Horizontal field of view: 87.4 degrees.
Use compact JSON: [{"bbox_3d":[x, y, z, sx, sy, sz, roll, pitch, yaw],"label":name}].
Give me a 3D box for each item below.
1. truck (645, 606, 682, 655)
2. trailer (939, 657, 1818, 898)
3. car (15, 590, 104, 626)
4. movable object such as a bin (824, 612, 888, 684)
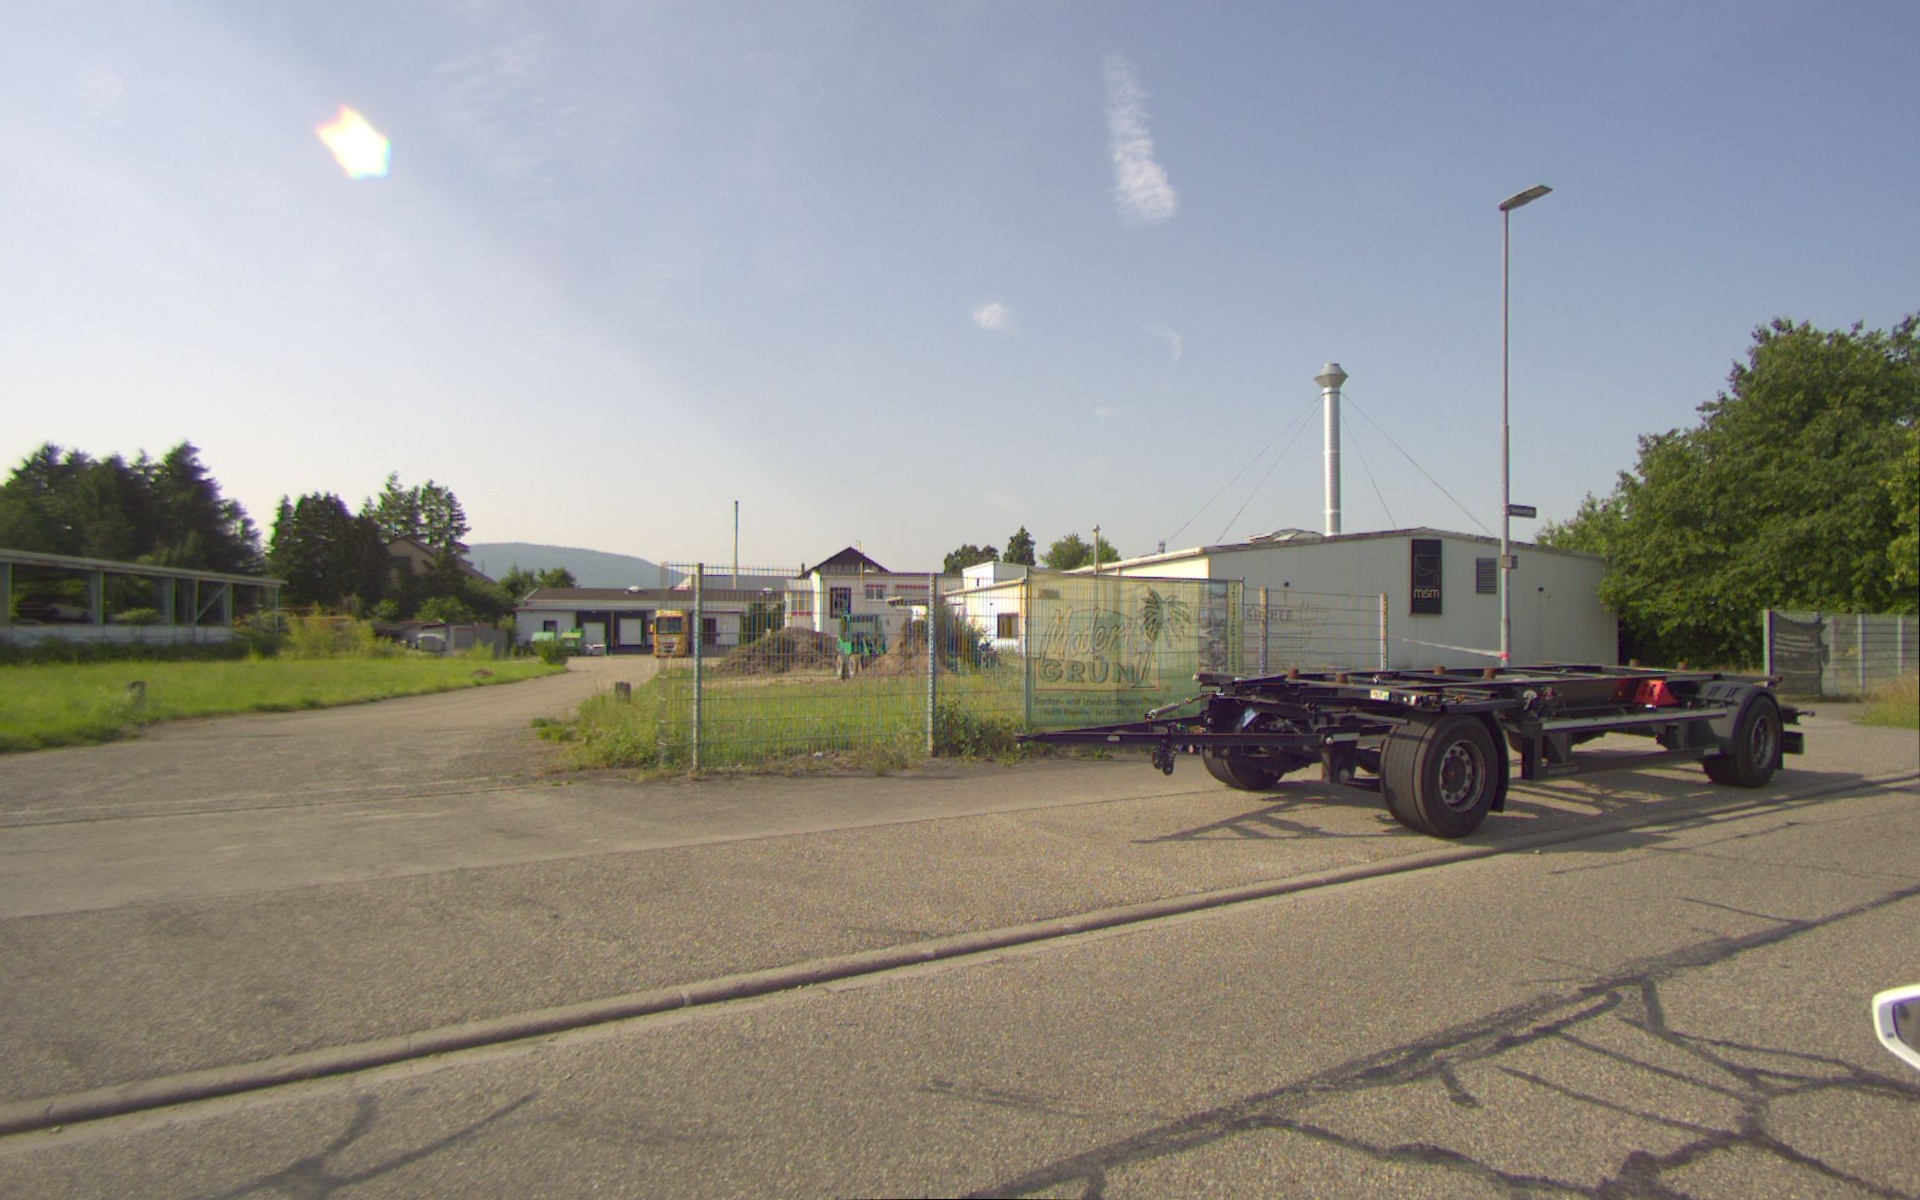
[{"bbox_3d":[-25.297,2.641,85.599,2.853,3.938,7.561,1,-2,-17],"label":"truck"},{"bbox_3d":[4.439,1.215,9.277,9.257,1.200,2.569,2,0,-31],"label":"trailer"},{"bbox_3d":[-48.485,0.453,54.180,1.716,1.831,3.896,1,-2,-10],"label":"car"},{"bbox_3d":[-3.804,1.769,37.306,2.209,2.488,4.304,0,-2,-5],"label":"movable object such as a bin"}]
